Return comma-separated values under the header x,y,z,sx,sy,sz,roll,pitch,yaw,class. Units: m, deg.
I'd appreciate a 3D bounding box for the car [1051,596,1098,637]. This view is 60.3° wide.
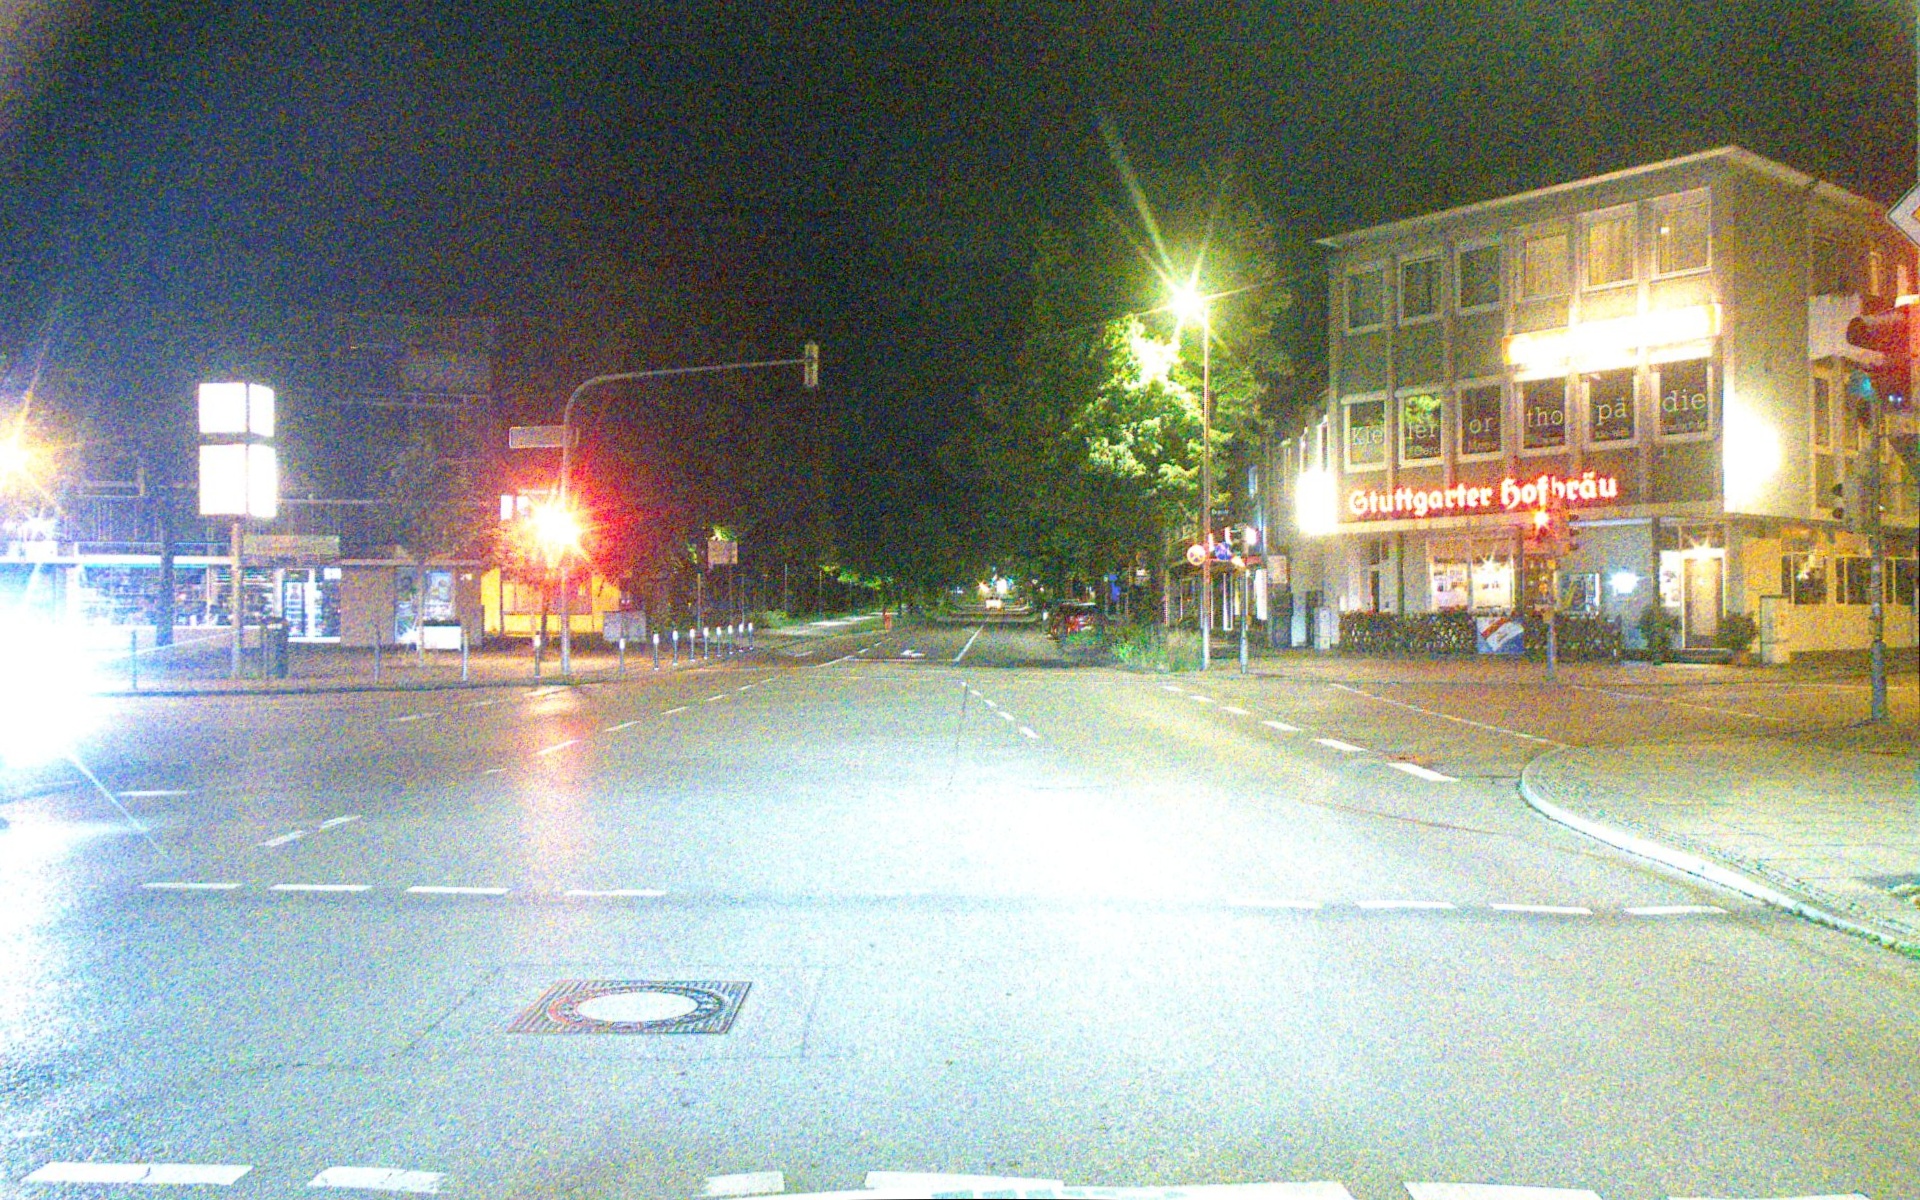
x,y,z,sx,sy,sz,roll,pitch,yaw,class
4.730,0.681,68.860,1.837,1.643,4.001,0,0,2,car

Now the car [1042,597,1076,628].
x,y,z,sx,sy,sz,roll,pitch,yaw,class
5.656,0.725,94.627,1.837,1.713,4.001,0,0,2,car

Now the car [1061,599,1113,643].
x,y,z,sx,sy,sz,roll,pitch,yaw,class
4.867,0.801,63.844,1.837,1.643,4.001,0,0,2,car

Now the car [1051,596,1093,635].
x,y,z,sx,sy,sz,roll,pitch,yaw,class
5.155,0.711,76.537,1.837,1.759,4.001,0,0,2,car

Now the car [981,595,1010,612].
x,y,z,sx,sy,sz,roll,pitch,yaw,class
3.566,0.367,165.431,2.179,1.680,4.003,0,0,12,car

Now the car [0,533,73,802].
x,y,z,sx,sy,sz,roll,pitch,yaw,class
-9.174,0.495,12.246,4.795,1.904,1.973,0,0,21,car
